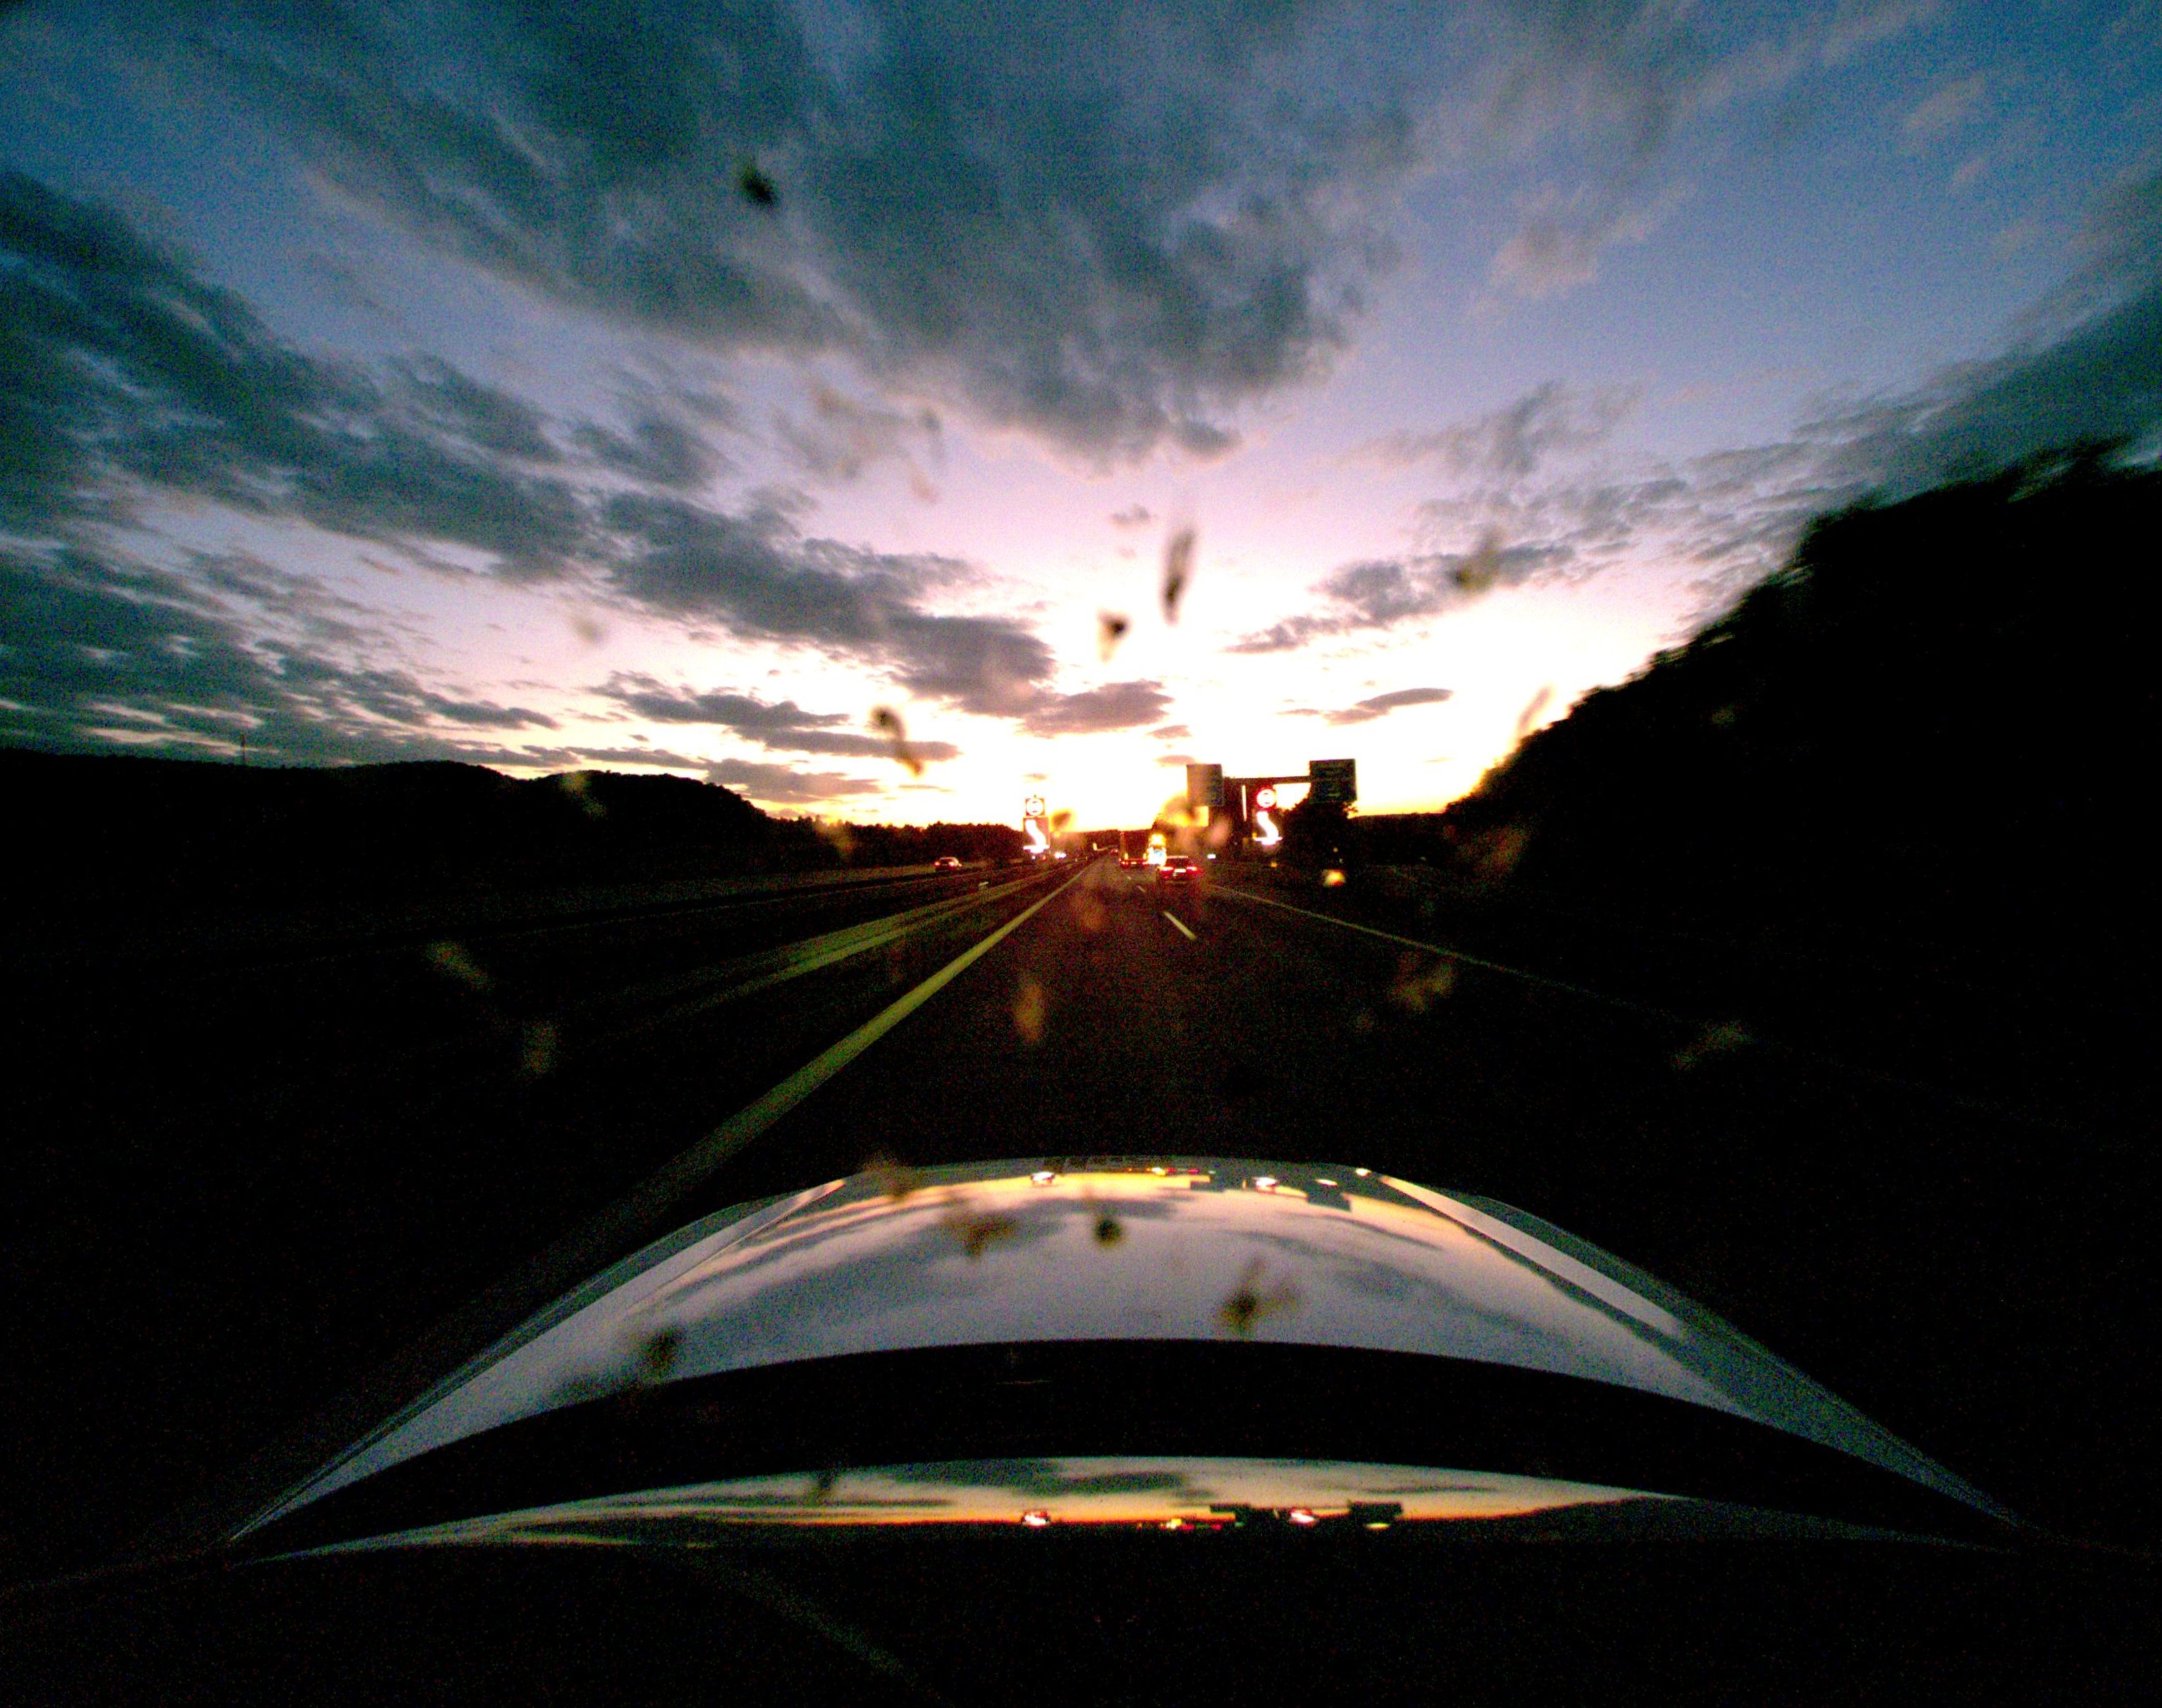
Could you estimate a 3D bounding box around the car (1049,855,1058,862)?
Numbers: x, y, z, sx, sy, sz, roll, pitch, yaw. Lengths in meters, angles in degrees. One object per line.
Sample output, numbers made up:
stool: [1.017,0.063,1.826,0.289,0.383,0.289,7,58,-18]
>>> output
car: [-6.532,0.975,193.315,1.632,1.546,3.396,-3,0,2]

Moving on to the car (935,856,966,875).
car: [-11.758,1.012,73.795,1.865,1.561,4.521,-3,0,1]

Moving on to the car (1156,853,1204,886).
car: [4.864,0.749,40.550,1.909,1.442,4.000,-3,0,0]

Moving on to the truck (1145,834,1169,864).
truck: [10.406,-0.672,112.479,2.777,4.058,6.413,-1,0,1]

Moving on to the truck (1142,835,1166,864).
truck: [10.726,-0.641,120.210,2.902,4.111,9.152,-1,0,1]

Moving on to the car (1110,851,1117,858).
car: [9.526,0.206,237.816,1.986,2.013,4.001,-3,0,1]

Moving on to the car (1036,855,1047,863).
car: [-7.694,0.960,159.384,1.706,1.605,3.723,-3,0,2]

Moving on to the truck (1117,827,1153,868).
truck: [6.182,-0.689,94.838,3.497,4.301,9.894,-3,0,1]
